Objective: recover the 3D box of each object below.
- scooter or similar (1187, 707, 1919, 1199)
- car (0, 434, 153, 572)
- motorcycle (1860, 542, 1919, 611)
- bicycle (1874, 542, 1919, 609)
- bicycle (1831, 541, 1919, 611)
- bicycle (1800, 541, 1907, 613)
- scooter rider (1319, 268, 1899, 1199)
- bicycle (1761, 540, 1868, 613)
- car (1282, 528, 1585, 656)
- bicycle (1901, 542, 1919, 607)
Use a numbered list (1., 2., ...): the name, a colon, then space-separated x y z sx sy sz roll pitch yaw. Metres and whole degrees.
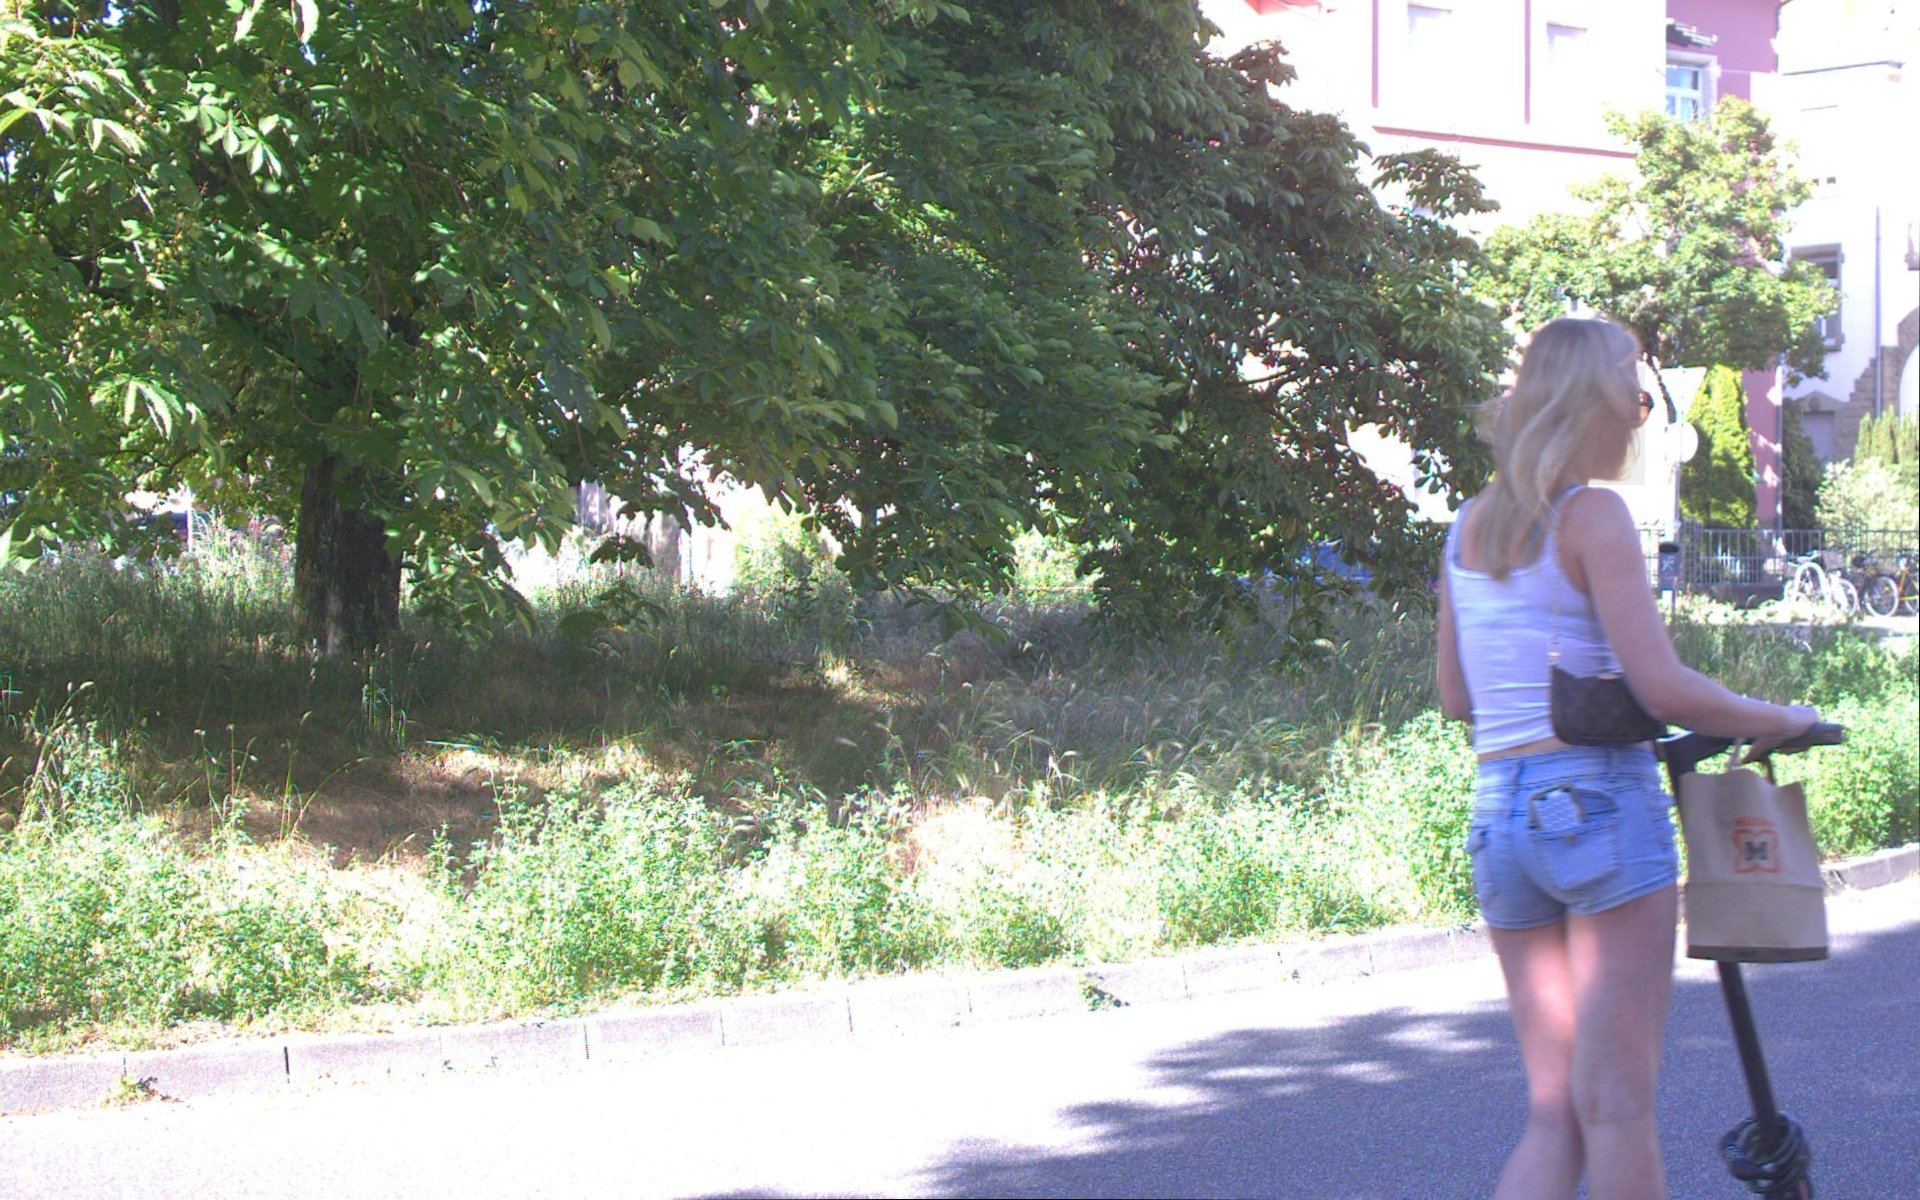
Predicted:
1. scooter or similar: 0.989 0.834 5.341 1.102 1.278 0.632 -1 1 -25
2. car: -18.858 -1.921 67.135 6.367 2.591 2.100 2 1 32
3. motorcycle: 16.003 -0.386 57.639 0.499 1.103 1.726 -1 4 -43
4. bicycle: 16.361 -0.401 58.089 0.499 1.103 1.726 -1 4 -43
5. bicycle: 15.479 -0.396 57.201 1.828 1.103 0.500 3 3 38
6. bicycle: 14.722 -0.387 56.699 0.544 1.111 1.727 -1 3 -36
7. scooter rider: 0.992 0.429 5.333 0.629 1.825 0.625 0 1 -25
8. bicycle: 13.951 -0.395 56.164 0.544 1.111 1.727 -1 3 -36
9. car: 5.902 -0.147 43.313 1.822 1.527 4.001 -1 1 -27
10. bicycle: 16.885 -0.409 58.418 0.499 1.103 1.726 -1 3 -40
